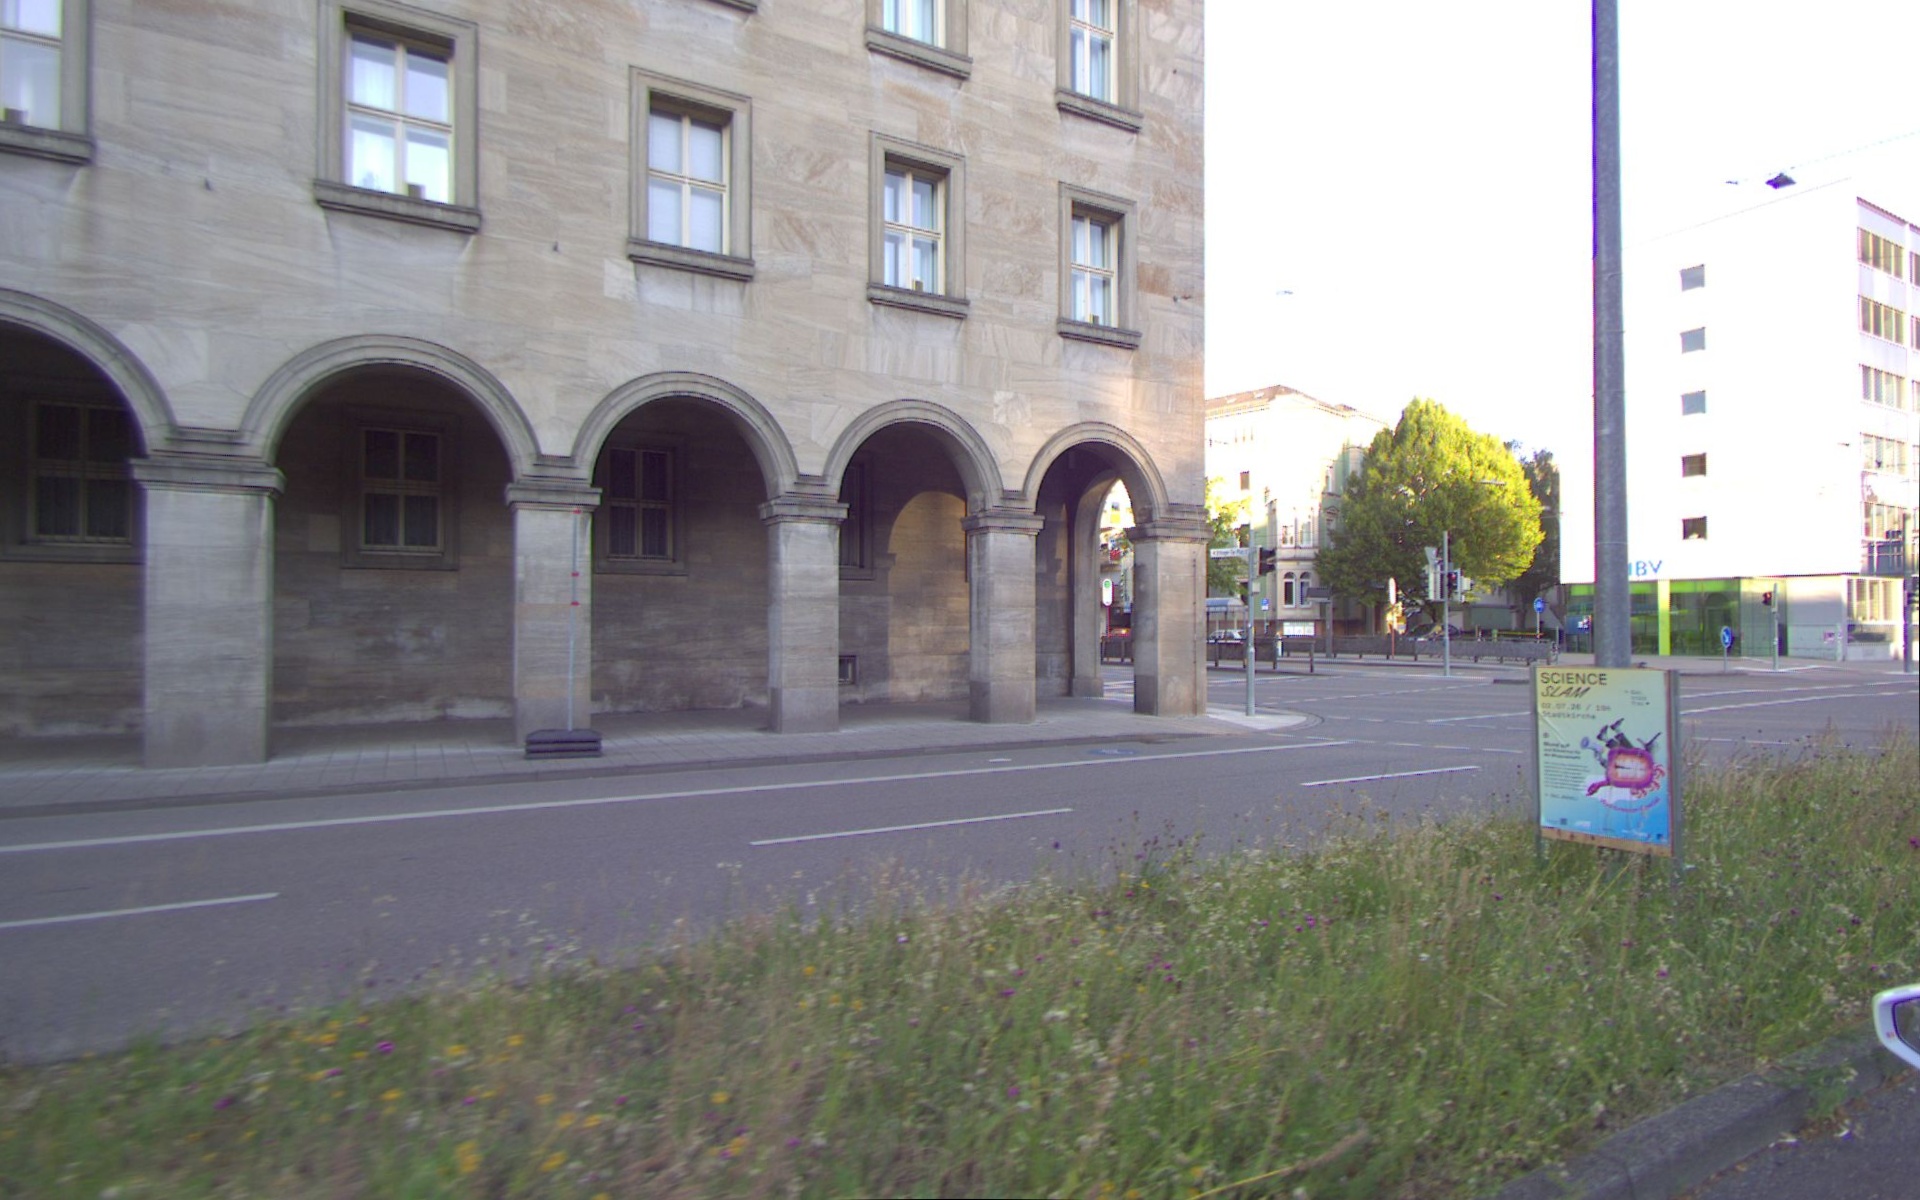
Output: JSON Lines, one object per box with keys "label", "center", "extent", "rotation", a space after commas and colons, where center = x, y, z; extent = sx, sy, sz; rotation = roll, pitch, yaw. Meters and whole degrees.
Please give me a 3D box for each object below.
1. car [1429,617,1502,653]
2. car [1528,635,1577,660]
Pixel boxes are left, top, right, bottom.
{"label": "car", "center": [29.525, 2.036, 58.619], "extent": [3.953, 2.040, 1.984], "rotation": [1, -2, -30]}
{"label": "car", "center": [27.480, 2.188, 46.603], "extent": [2.492, 1.088, 0.849], "rotation": [1, -2, -30]}
